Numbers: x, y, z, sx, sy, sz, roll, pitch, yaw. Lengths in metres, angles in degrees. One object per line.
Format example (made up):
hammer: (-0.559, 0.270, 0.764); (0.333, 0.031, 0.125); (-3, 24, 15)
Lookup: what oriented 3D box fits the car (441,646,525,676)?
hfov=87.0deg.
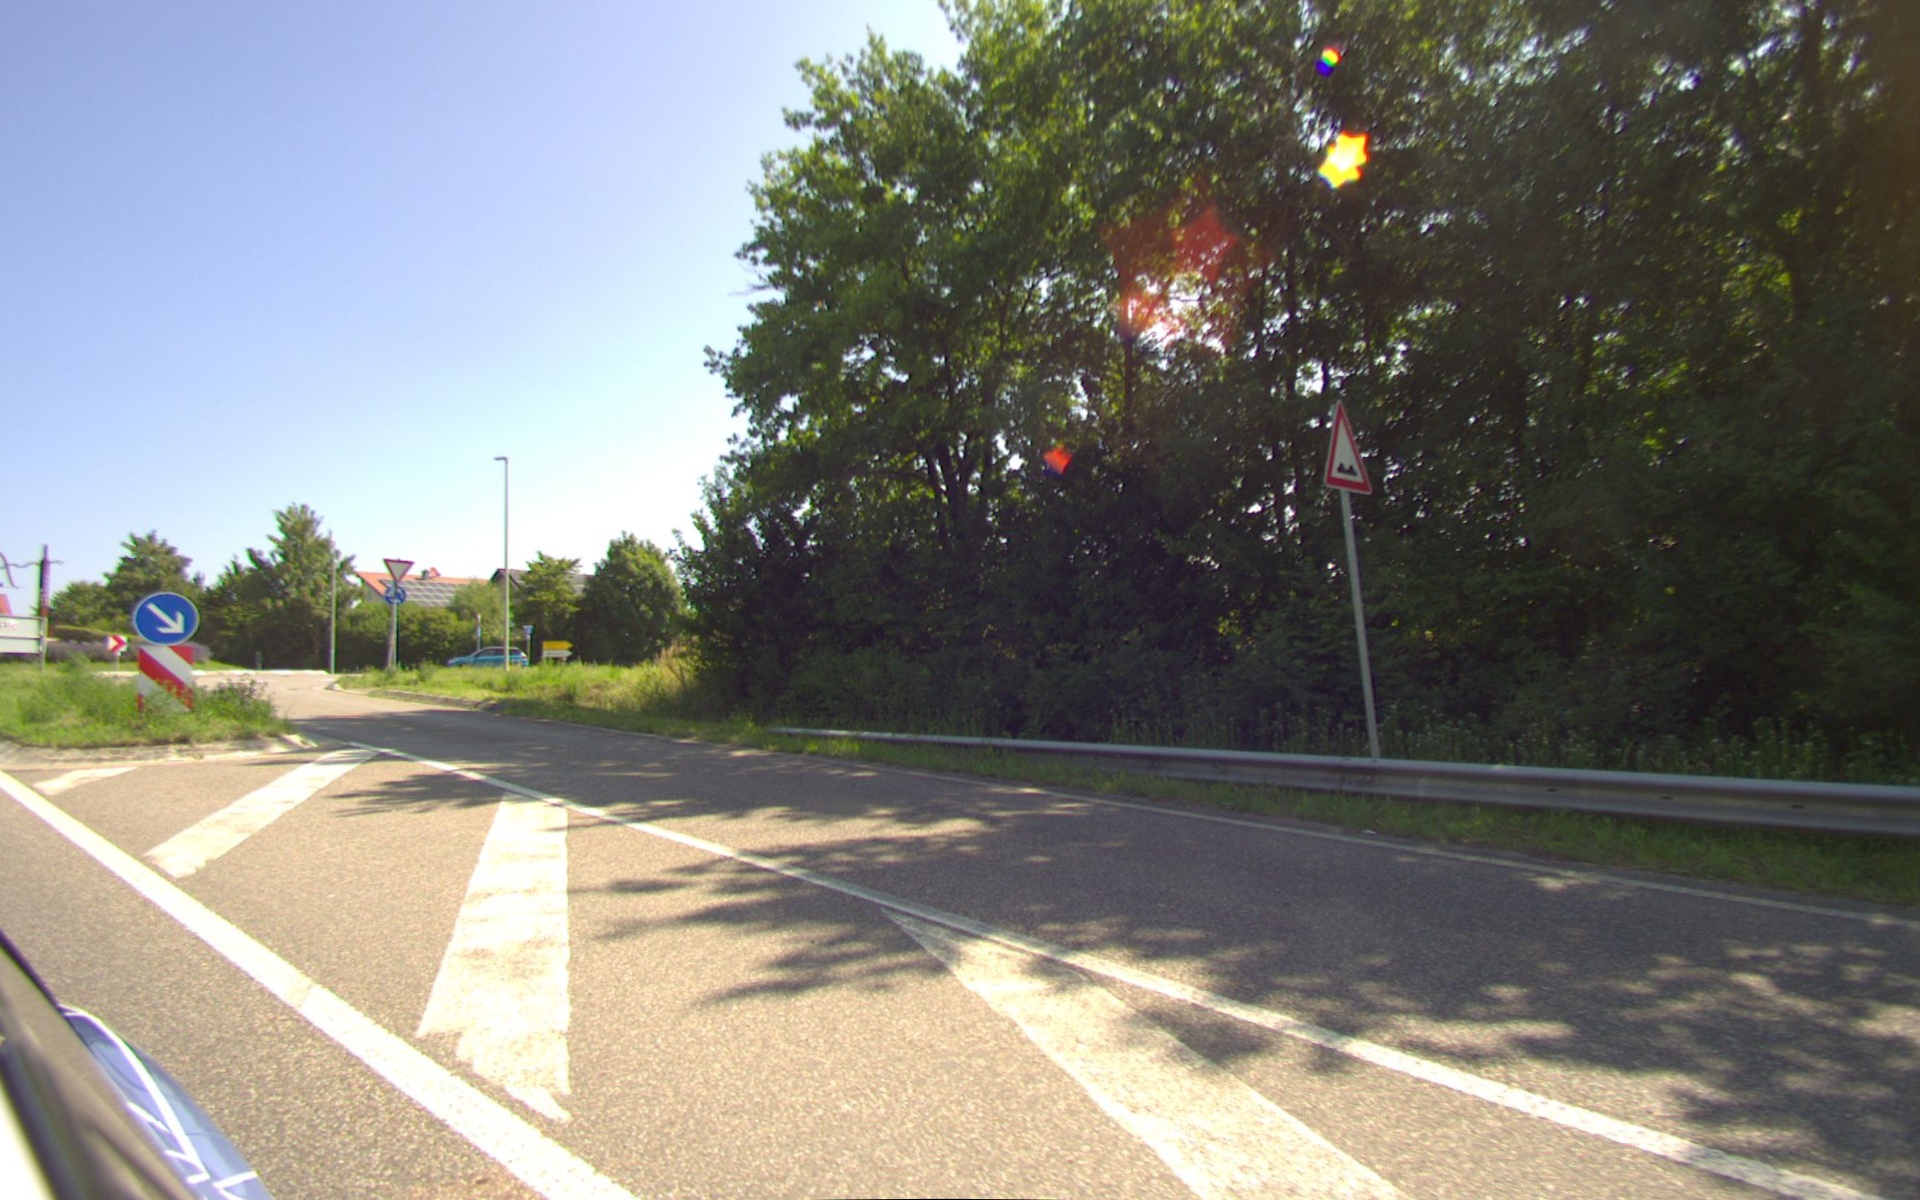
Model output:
car: (-26.051, 3.344, 55.281); (3.932, 1.588, 1.654); (2, -4, -33)
